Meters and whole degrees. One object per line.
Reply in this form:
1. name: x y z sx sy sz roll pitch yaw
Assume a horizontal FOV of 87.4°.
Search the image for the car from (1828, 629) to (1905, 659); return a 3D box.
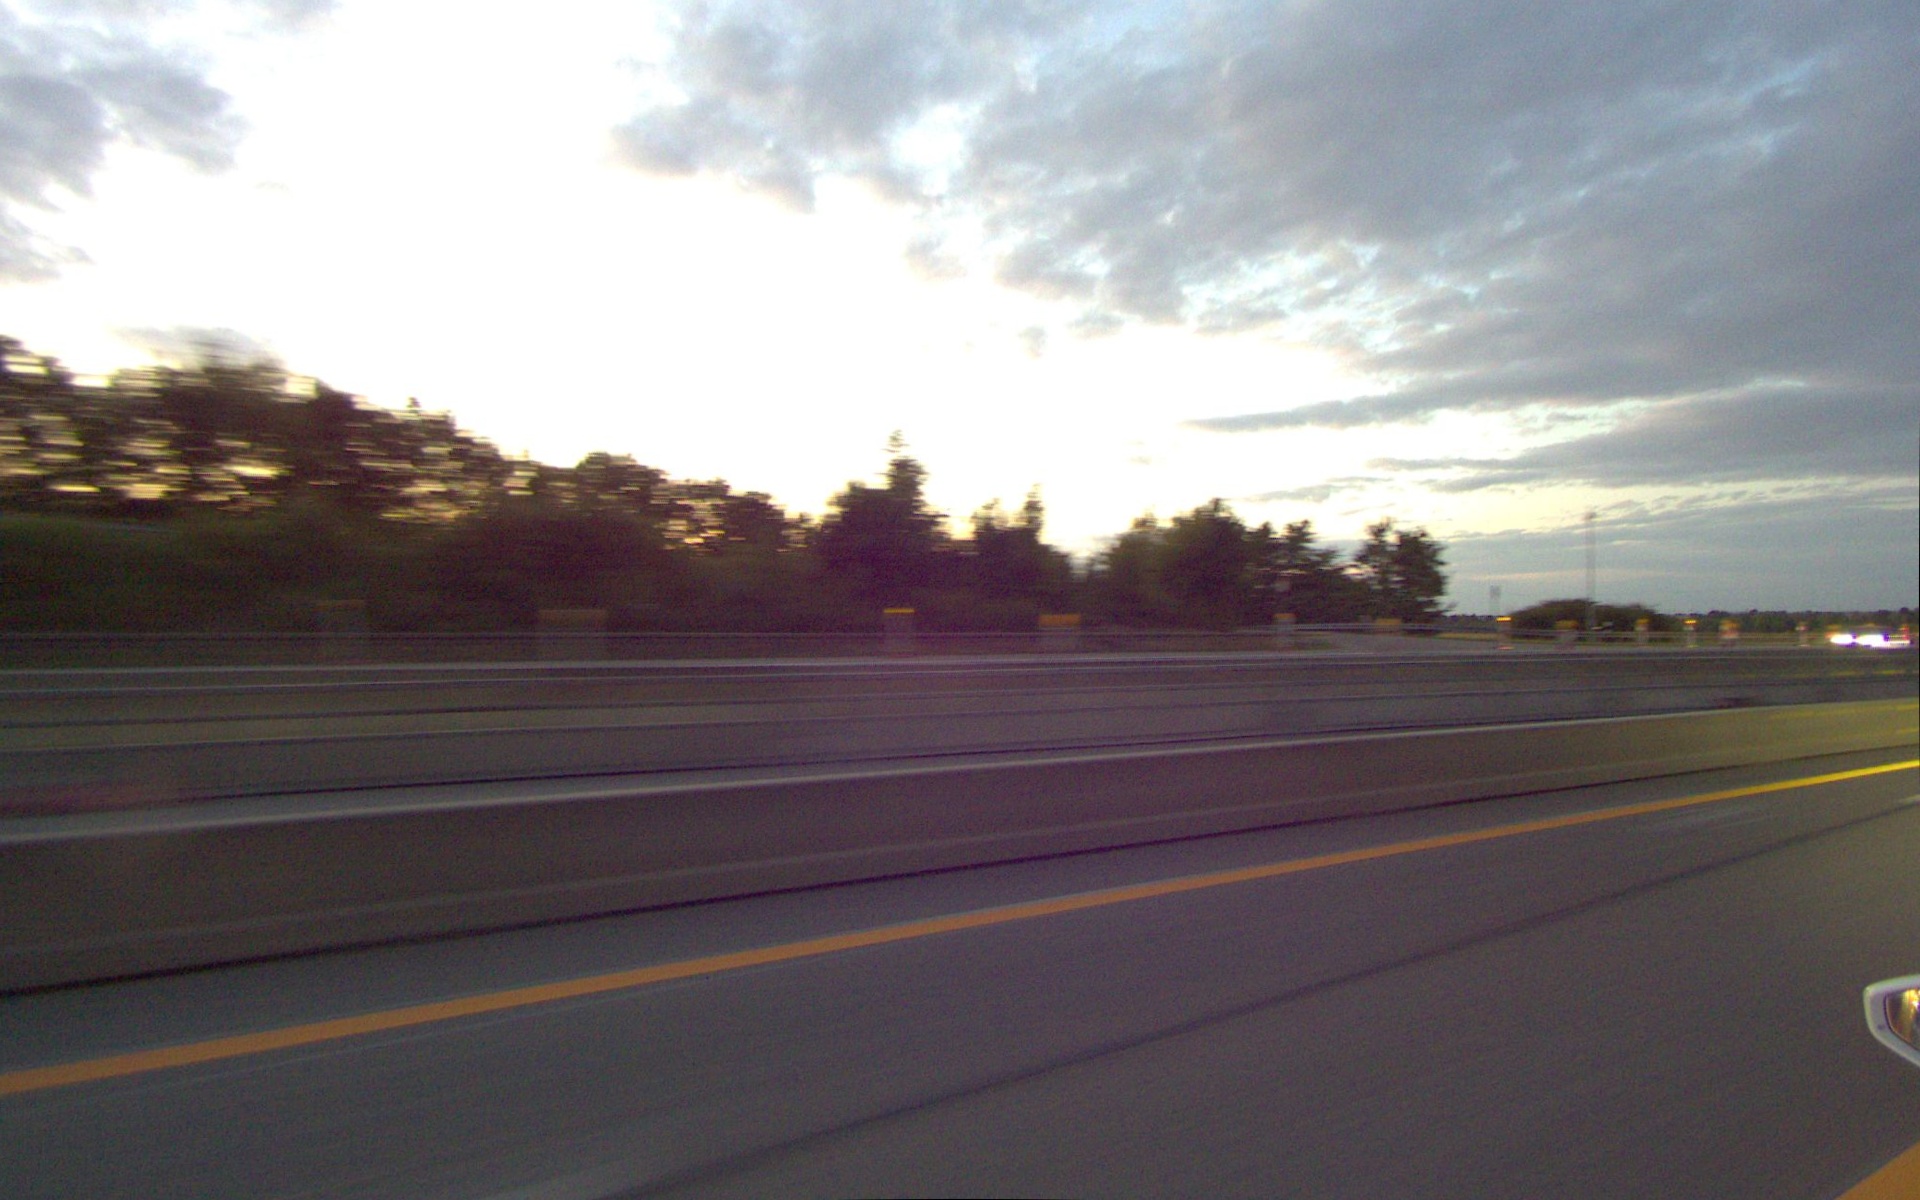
1. car: 49.064 2.376 54.339 4.087 1.483 1.983 2 0 -31
